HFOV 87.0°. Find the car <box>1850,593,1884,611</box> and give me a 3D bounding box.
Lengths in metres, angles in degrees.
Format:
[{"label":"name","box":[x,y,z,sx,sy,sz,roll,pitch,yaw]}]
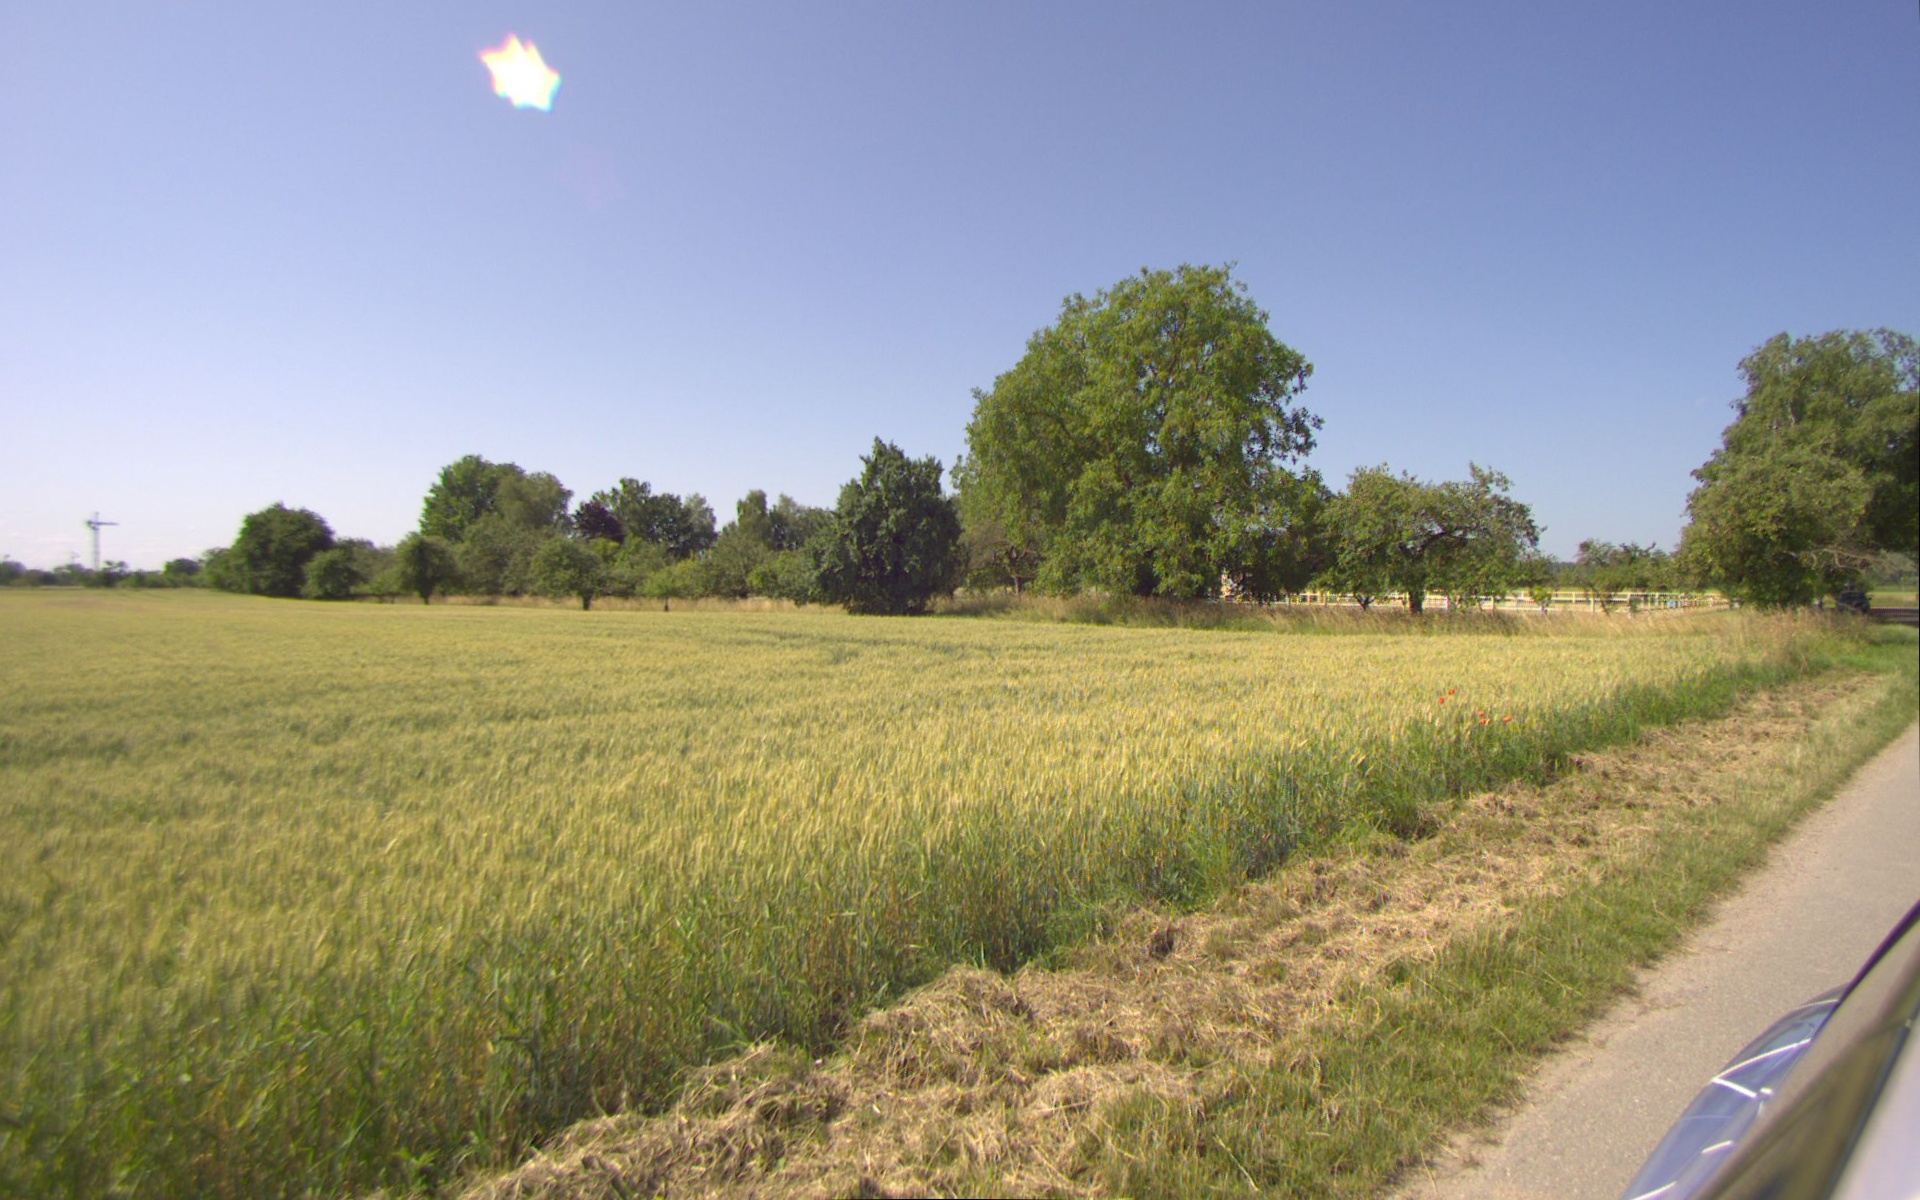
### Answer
[{"label":"car","box":[67.480,0.131,75.315,1.715,1.337,3.689,0,1,40]}]
